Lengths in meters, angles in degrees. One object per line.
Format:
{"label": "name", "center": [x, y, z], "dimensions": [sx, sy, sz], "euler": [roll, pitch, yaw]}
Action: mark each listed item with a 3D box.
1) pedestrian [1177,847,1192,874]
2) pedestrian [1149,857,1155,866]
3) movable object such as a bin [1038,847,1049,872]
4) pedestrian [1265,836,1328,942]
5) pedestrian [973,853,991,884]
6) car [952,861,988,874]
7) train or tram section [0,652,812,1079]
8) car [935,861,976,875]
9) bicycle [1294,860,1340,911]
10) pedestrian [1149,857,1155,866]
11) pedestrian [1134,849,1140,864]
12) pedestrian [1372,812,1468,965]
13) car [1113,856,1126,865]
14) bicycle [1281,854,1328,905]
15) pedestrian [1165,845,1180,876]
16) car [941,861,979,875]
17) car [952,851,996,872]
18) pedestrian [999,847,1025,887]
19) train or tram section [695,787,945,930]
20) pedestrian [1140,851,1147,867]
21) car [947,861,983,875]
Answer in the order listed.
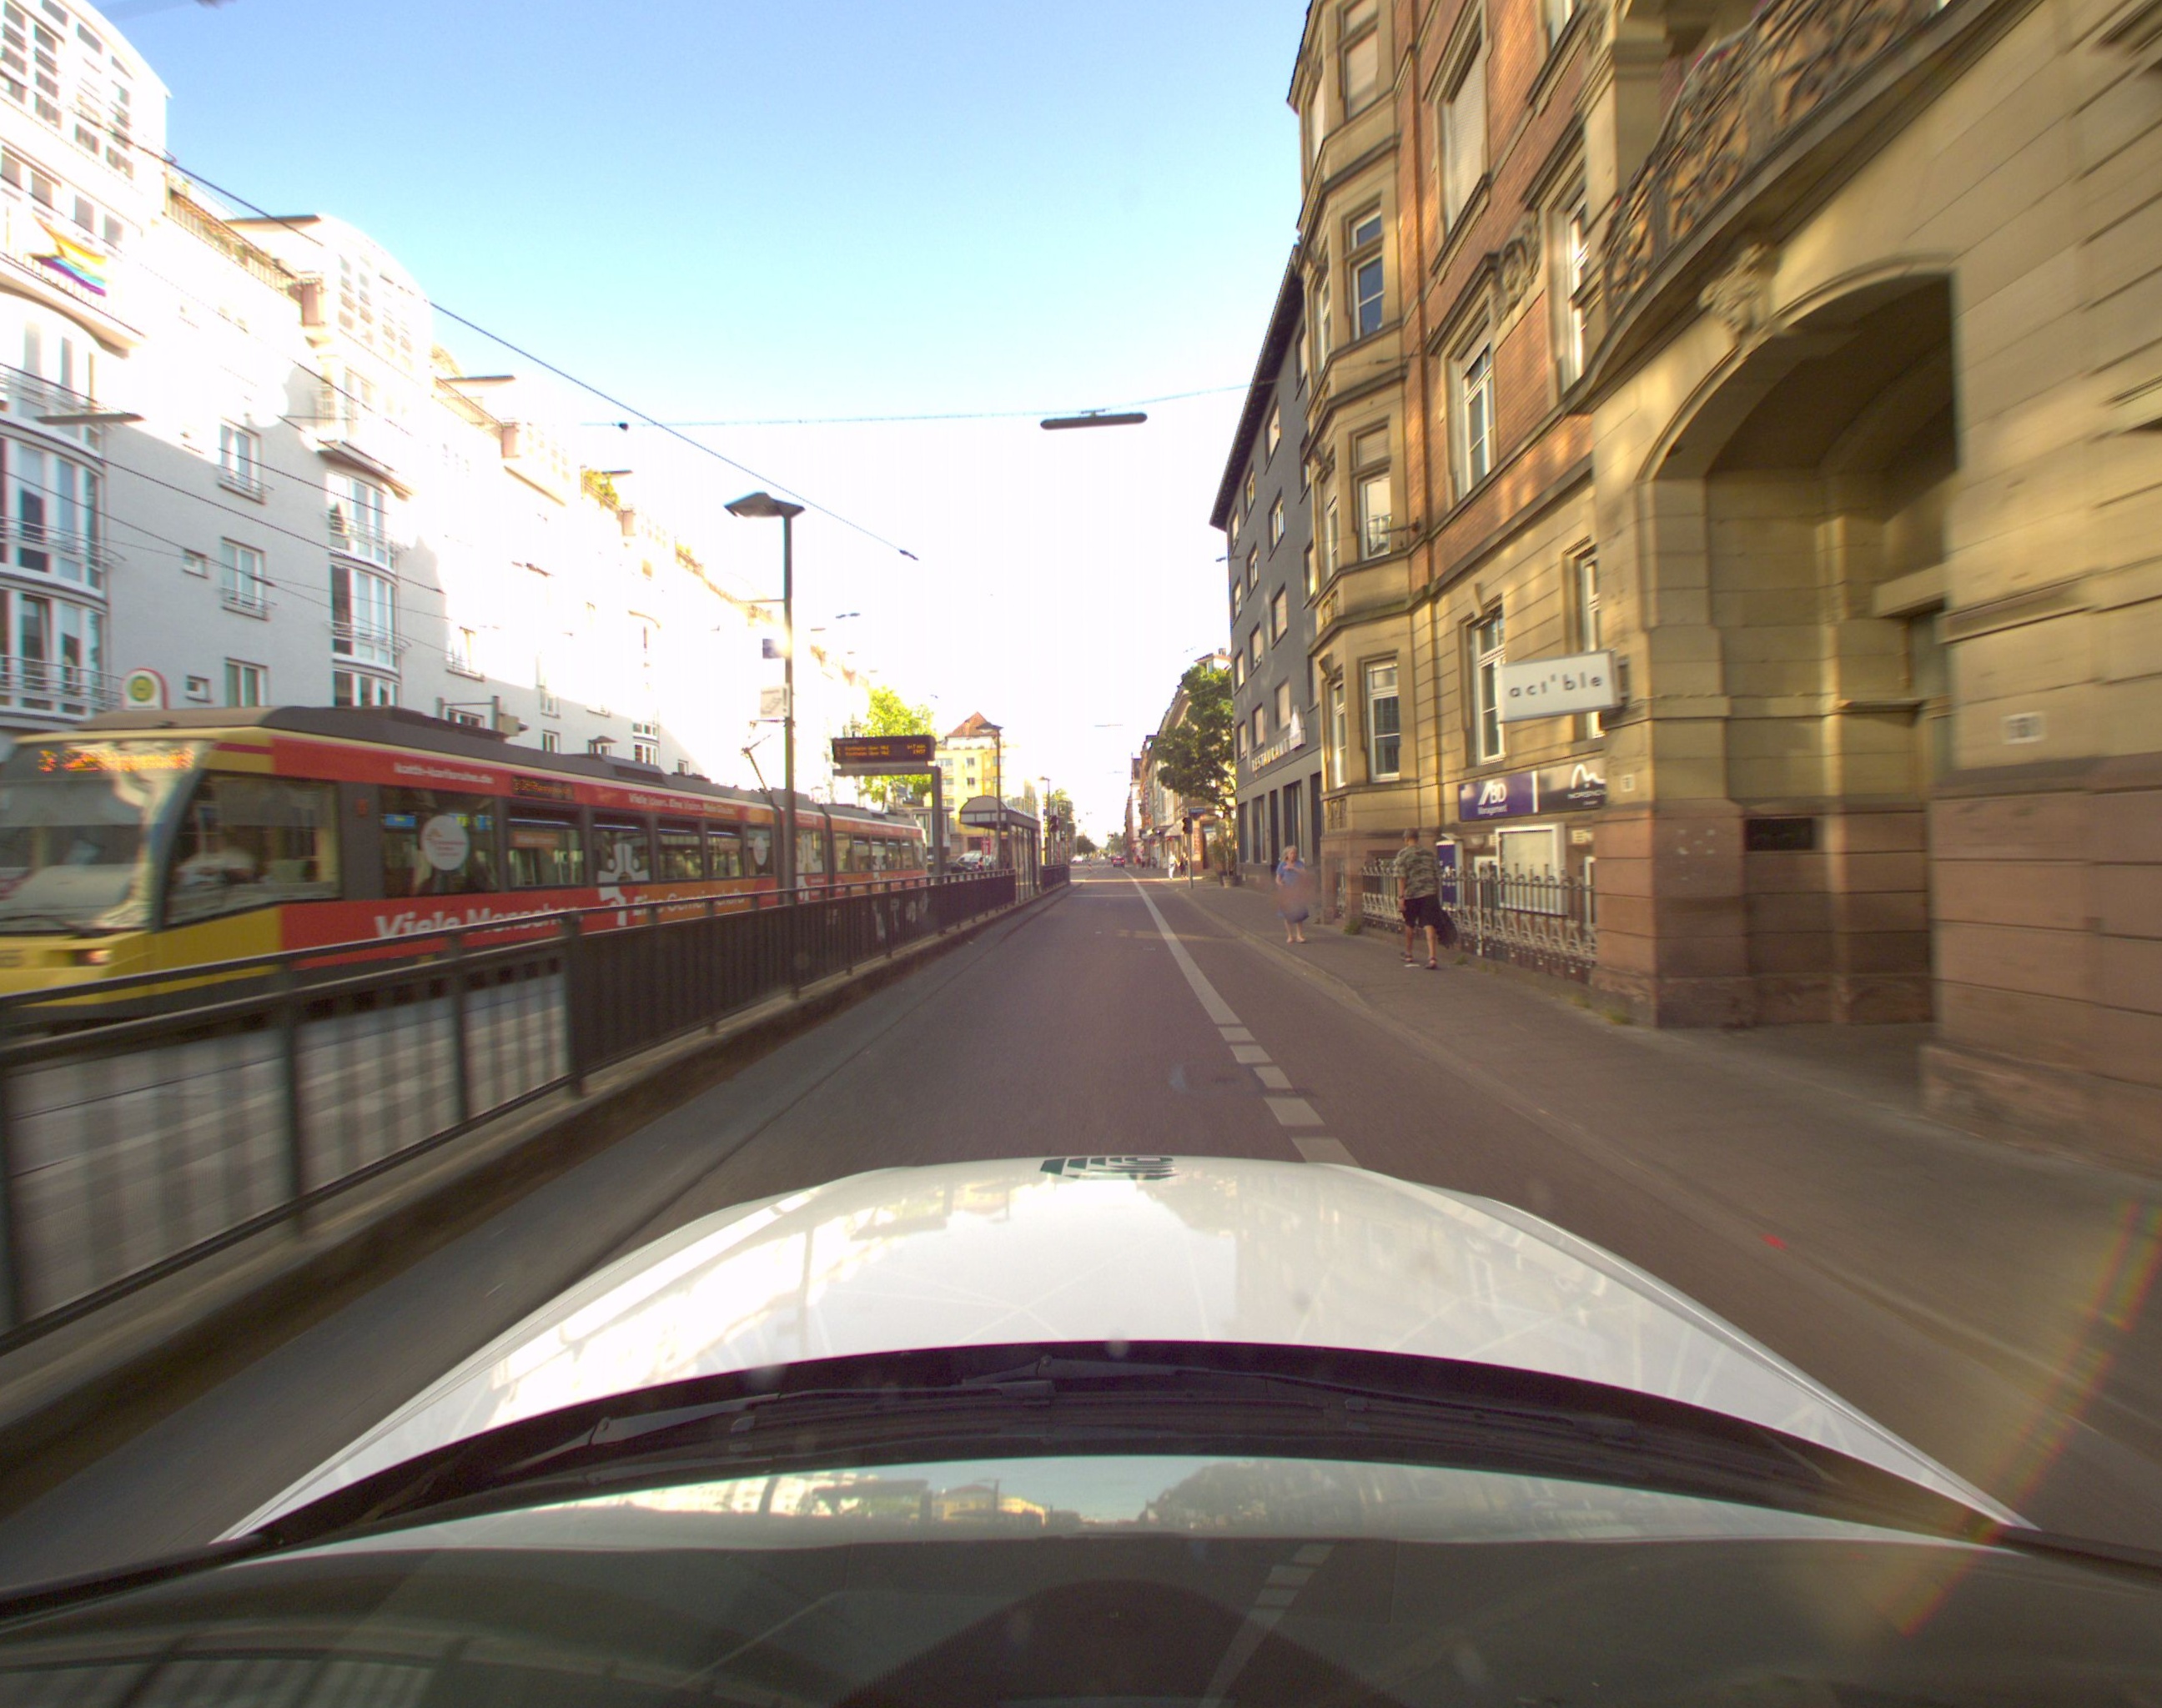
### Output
{"label": "pedestrian", "center": [6.275, 0.388, 49.371], "dimensions": [0.711, 1.602, 0.773], "euler": [-4, 0, -1]}
{"label": "pedestrian", "center": [8.370, 0.875, 96.021], "dimensions": [0.687, 1.043, 0.681], "euler": [-2, -1, 6]}
{"label": "movable object such as a bin", "center": [-1.454, 0.219, 31.353], "dimensions": [0.351, 0.944, 0.530], "euler": [-2, -1, 1]}
{"label": "pedestrian", "center": [3.540, 0.557, 13.439], "dimensions": [0.760, 1.645, 0.832], "euler": [-3, 0, 1]}
{"label": "pedestrian", "center": [-5.531, 0.788, 45.590], "dimensions": [0.866, 1.714, 0.787], "euler": [1, 0, -1]}
{"label": "car", "center": [-13.445, 1.651, 98.723], "dimensions": [3.971, 1.510, 1.801], "euler": [-1, -1, 2]}
{"label": "train or tram section", "center": [-8.693, 0.130, 13.929], "dimensions": [2.874, 3.490, 14.173], "euler": [-3, 0, 2]}
{"label": "car", "center": [-14.002, 1.594, 90.990], "dimensions": [4.302, 1.510, 1.801], "euler": [-1, -1, 2]}
{"label": "bicycle", "center": [5.448, 0.705, 18.883], "dimensions": [0.588, 1.070, 1.806], "euler": [-4, 0, 4]}
{"label": "pedestrian", "center": [8.268, 0.901, 95.230], "dimensions": [0.687, 1.043, 0.681], "euler": [-2, -1, 6]}
{"label": "pedestrian", "center": [6.586, 0.280, 95.370], "dimensions": [0.556, 1.796, 0.652], "euler": [-2, -1, 9]}
{"label": "pedestrian", "center": [4.286, 0.422, 10.346], "dimensions": [0.798, 1.824, 0.798], "euler": [-3, 0, 1]}
{"label": "car", "center": [6.184, 1.040, 131.207], "dimensions": [1.986, 1.449, 4.002], "euler": [-1, -1, 2]}
{"label": "bicycle", "center": [5.679, 0.625, 20.796], "dimensions": [0.621, 1.198, 1.908], "euler": [-4, 0, 1]}
{"label": "pedestrian", "center": [5.533, 0.390, 49.225], "dimensions": [0.711, 1.774, 0.773], "euler": [-4, 0, -1]}
{"label": "car", "center": [-13.885, 1.608, 93.619], "dimensions": [3.971, 1.510, 1.801], "euler": [-1, -1, 2]}
{"label": "car", "center": [-13.288, 0.908, 101.310], "dimensions": [5.085, 2.576, 2.130], "euler": [-1, -1, 2]}
{"label": "pedestrian", "center": [-2.071, 0.391, 24.417], "dimensions": [0.682, 1.176, 0.537], "euler": [-2, -1, 3]}
{"label": "train or tram section", "center": [-7.964, 0.104, 28.412], "dimensions": [2.873, 3.490, 14.964], "euler": [-3, 0, 4]}
{"label": "pedestrian", "center": [7.373, 0.601, 96.072], "dimensions": [0.645, 1.796, 0.562], "euler": [-2, -1, 6]}
{"label": "car", "center": [-13.678, 1.631, 96.196], "dimensions": [3.971, 1.510, 1.801], "euler": [-1, -1, 2]}
